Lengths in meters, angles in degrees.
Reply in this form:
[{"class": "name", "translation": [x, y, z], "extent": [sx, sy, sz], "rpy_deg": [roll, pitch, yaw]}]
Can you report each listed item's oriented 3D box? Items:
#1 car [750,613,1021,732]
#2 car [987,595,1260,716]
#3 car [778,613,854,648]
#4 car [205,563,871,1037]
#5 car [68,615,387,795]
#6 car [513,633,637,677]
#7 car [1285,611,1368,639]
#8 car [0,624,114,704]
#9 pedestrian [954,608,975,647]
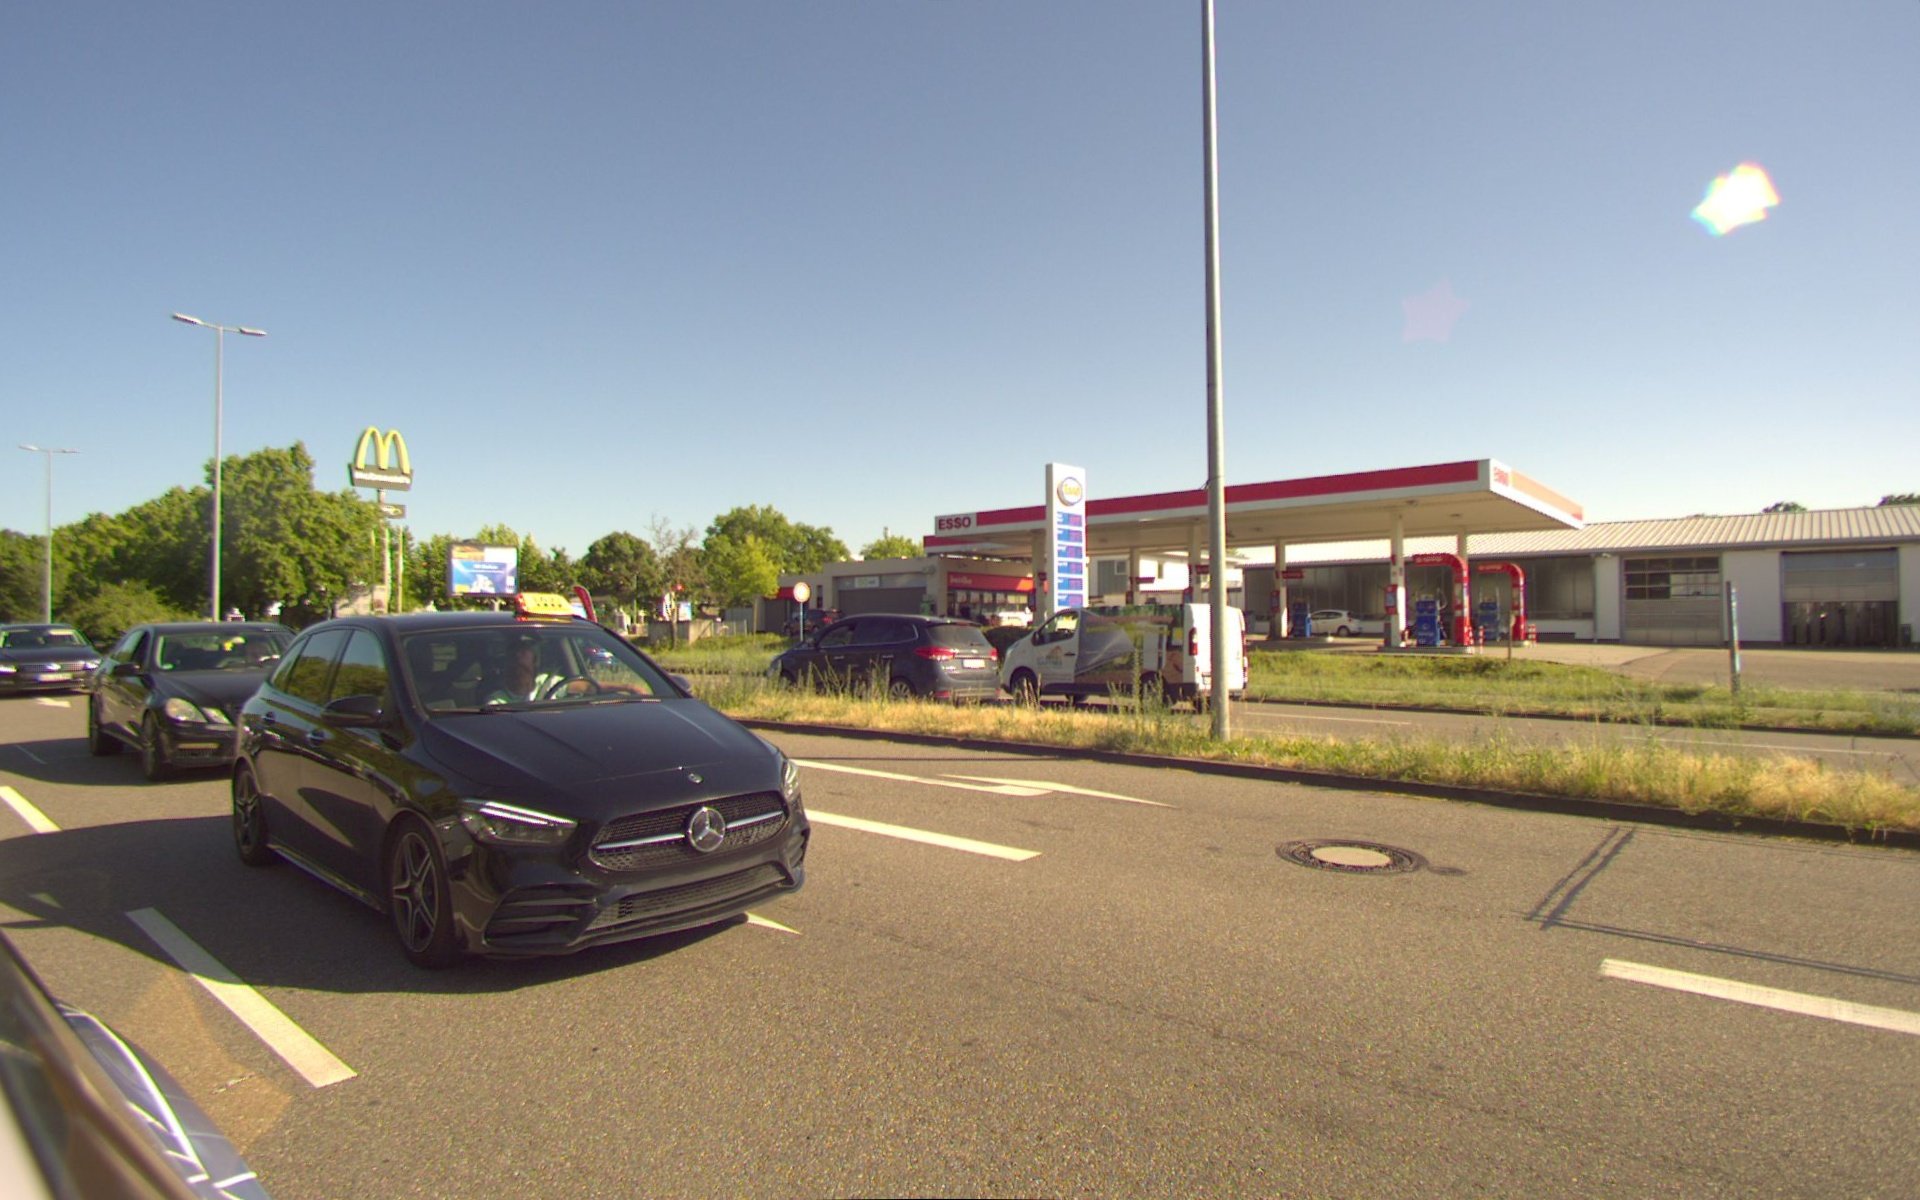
[{"class": "car", "translation": [-1.328, 1.098, 16.676], "extent": [4.433, 1.703, 1.860], "rpy_deg": [-2, -2, 41]}, {"class": "car", "translation": [3.001, 1.025, 19.480], "extent": [1.970, 2.029, 5.030], "rpy_deg": [3, -3, -44]}, {"class": "car", "translation": [-7.856, 1.642, 55.048], "extent": [4.117, 1.783, 1.972], "rpy_deg": [-2, -1, 43]}, {"class": "car", "translation": [-2.573, 0.744, 5.588], "extent": [4.187, 1.638, 1.780], "rpy_deg": [-2, -2, 42]}, {"class": "car", "translation": [-7.947, 0.958, 10.819], "extent": [4.401, 1.535, 1.838], "rpy_deg": [-2, -2, 41]}, {"class": "car", "translation": [-13.659, 1.922, 35.831], "extent": [4.599, 1.457, 1.886], "rpy_deg": [-1, -4, 37]}, {"class": "car", "translation": [19.842, 1.342, 54.862], "extent": [3.844, 1.450, 1.730], "rpy_deg": [-2, -2, 39]}, {"class": "car", "translation": [-19.278, 1.273, 21.122], "extent": [4.401, 1.492, 1.838], "rpy_deg": [-2, -2, 41]}, {"class": "pedestrian", "translation": [0.218, 1.457, 52.999], "extent": [0.840, 2.029, 0.694], "rpy_deg": [-2, -2, 41]}]
